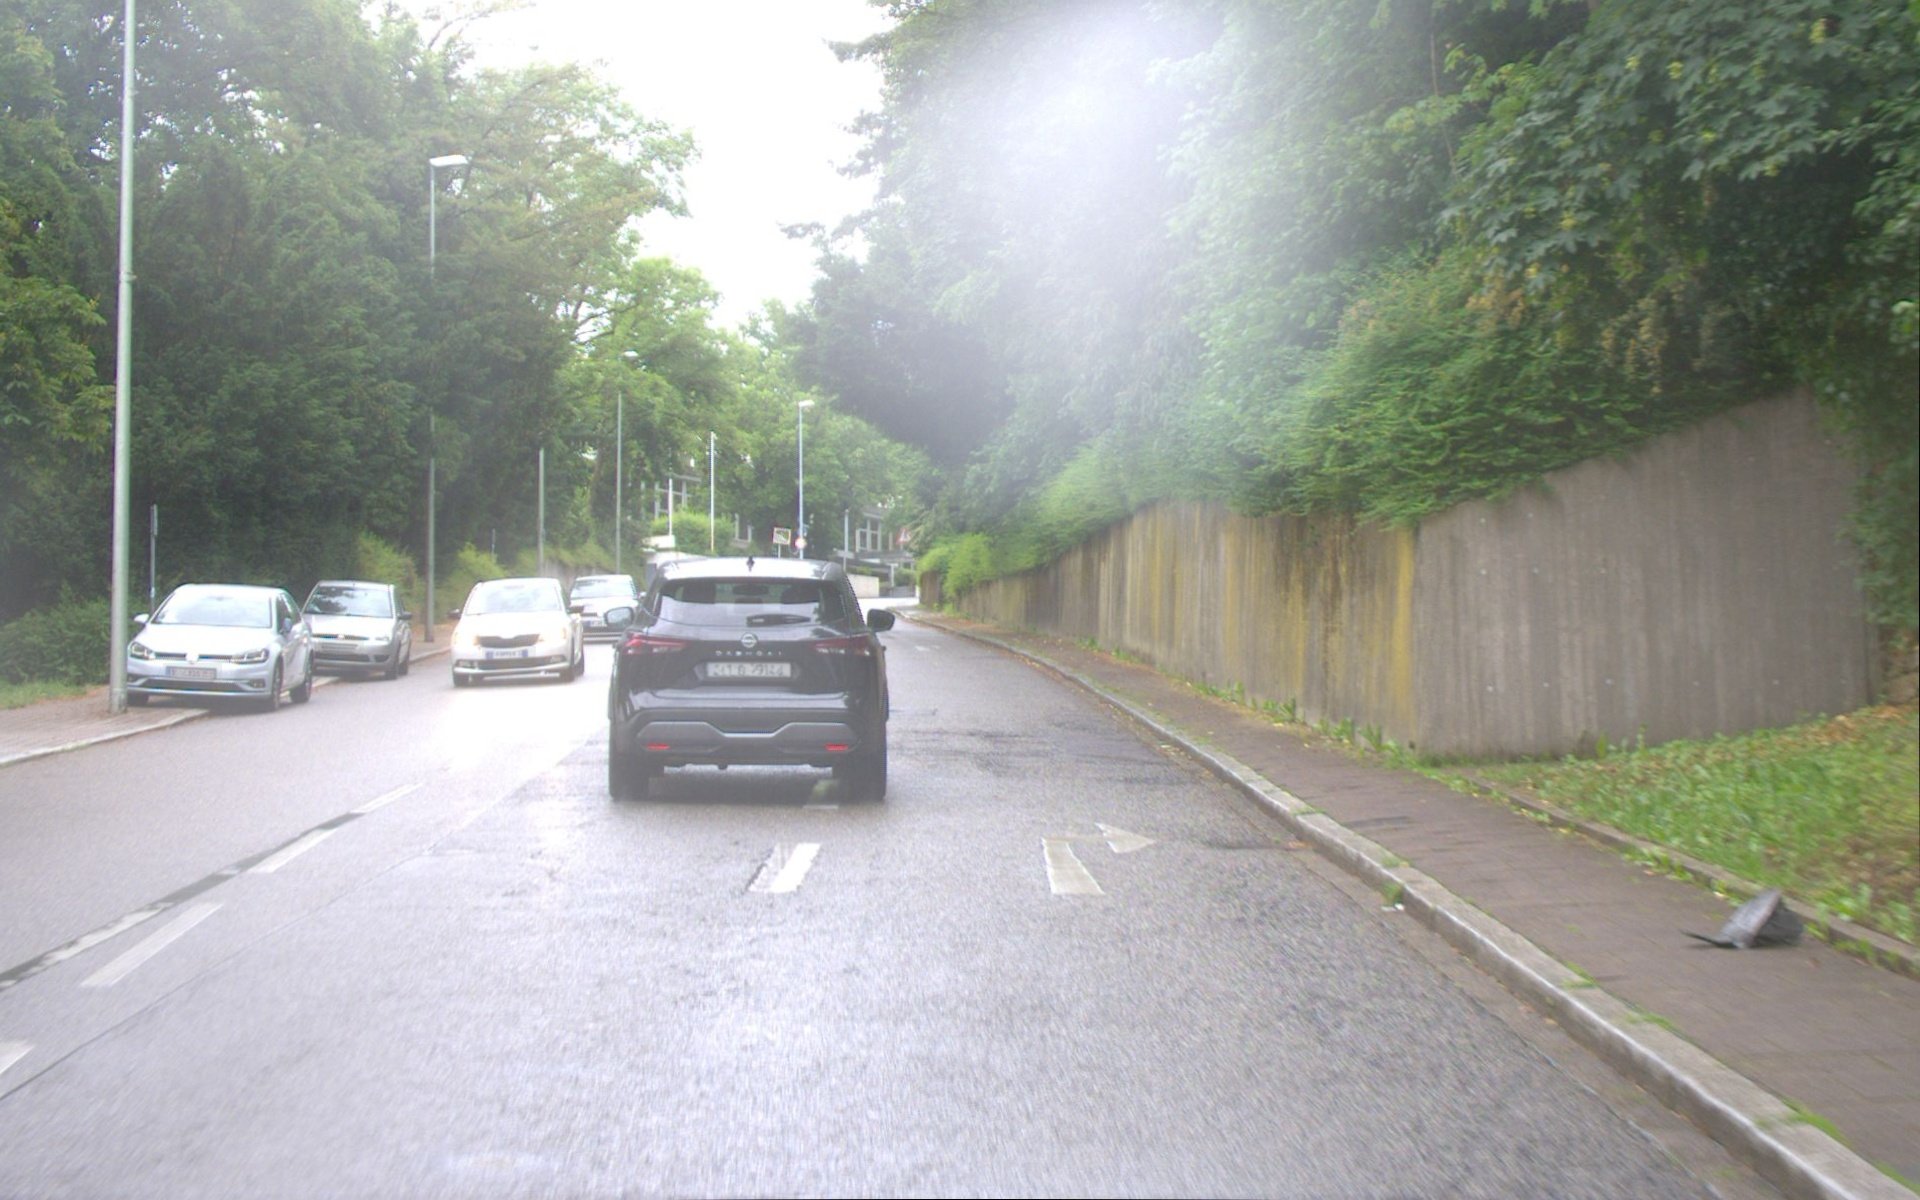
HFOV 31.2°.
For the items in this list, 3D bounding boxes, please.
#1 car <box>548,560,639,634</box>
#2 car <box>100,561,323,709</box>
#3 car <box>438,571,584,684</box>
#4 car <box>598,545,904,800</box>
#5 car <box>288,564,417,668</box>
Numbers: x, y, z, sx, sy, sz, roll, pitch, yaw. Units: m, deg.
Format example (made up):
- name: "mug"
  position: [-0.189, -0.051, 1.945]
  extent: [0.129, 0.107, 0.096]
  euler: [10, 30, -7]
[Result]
- name: "car"
  position: [-7.889, -0.085, 74.269]
  extent: [1.760, 1.486, 4.001]
  euler: [-2, 1, -4]
- name: "car"
  position: [-9.000, 0.382, 41.661]
  extent: [1.886, 1.606, 4.240]
  euler: [-3, 1, -3]
- name: "car"
  position: [-6.294, 0.358, 48.521]
  extent: [1.724, 1.430, 3.913]
  euler: [-3, 1, -3]
- name: "car"
  position: [-1.433, 0.435, 23.740]
  extent: [1.928, 1.607, 4.001]
  euler: [0, 1, -3]
- name: "car"
  position: [-9.375, 0.225, 53.277]
  extent: [1.625, 1.494, 3.929]
  euler: [2, 1, -6]
